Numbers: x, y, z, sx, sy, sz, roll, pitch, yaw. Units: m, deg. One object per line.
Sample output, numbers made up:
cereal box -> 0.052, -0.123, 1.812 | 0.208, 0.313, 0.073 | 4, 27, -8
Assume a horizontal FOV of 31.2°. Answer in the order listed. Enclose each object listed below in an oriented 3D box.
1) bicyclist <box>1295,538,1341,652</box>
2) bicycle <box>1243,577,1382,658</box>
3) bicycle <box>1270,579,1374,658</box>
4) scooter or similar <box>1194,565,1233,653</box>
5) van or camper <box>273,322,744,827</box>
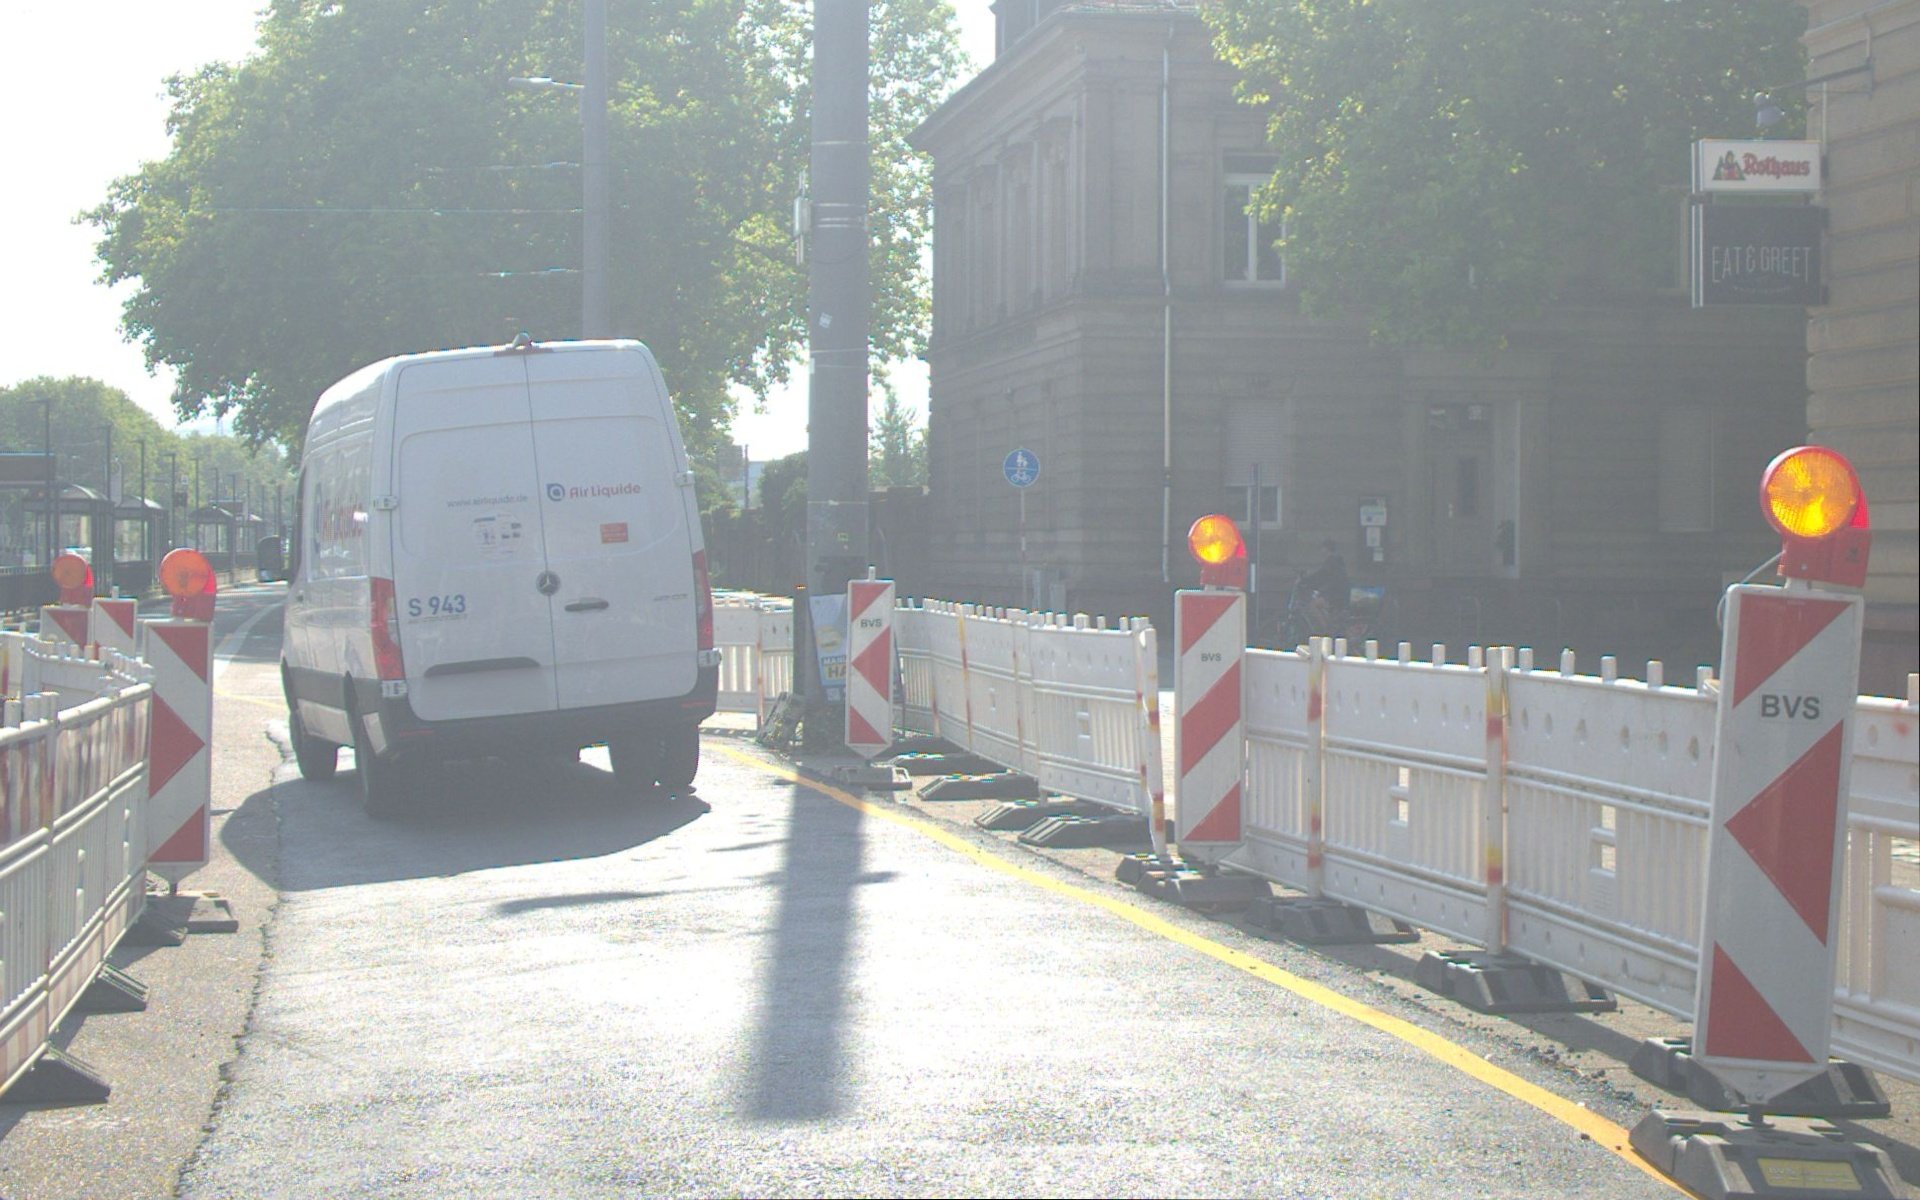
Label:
bicyclist -> 4.868, -0.074, 46.731 | 0.594, 1.534, 0.470 | 0, 1, 9
bicycle -> 4.791, 0.238, 46.756 | 1.852, 1.085, 0.492 | 0, 1, 10
bicycle -> 5.082, 0.256, 48.383 | 0.491, 0.996, 1.818 | -1, 4, -28
scooter or similar -> 3.608, 0.120, 48.989 | 0.425, 1.224, 1.173 | 0, 1, -3
van or camper -> -2.954, -0.215, 21.330 | 2.115, 2.672, 5.252 | -3, 2, -15
